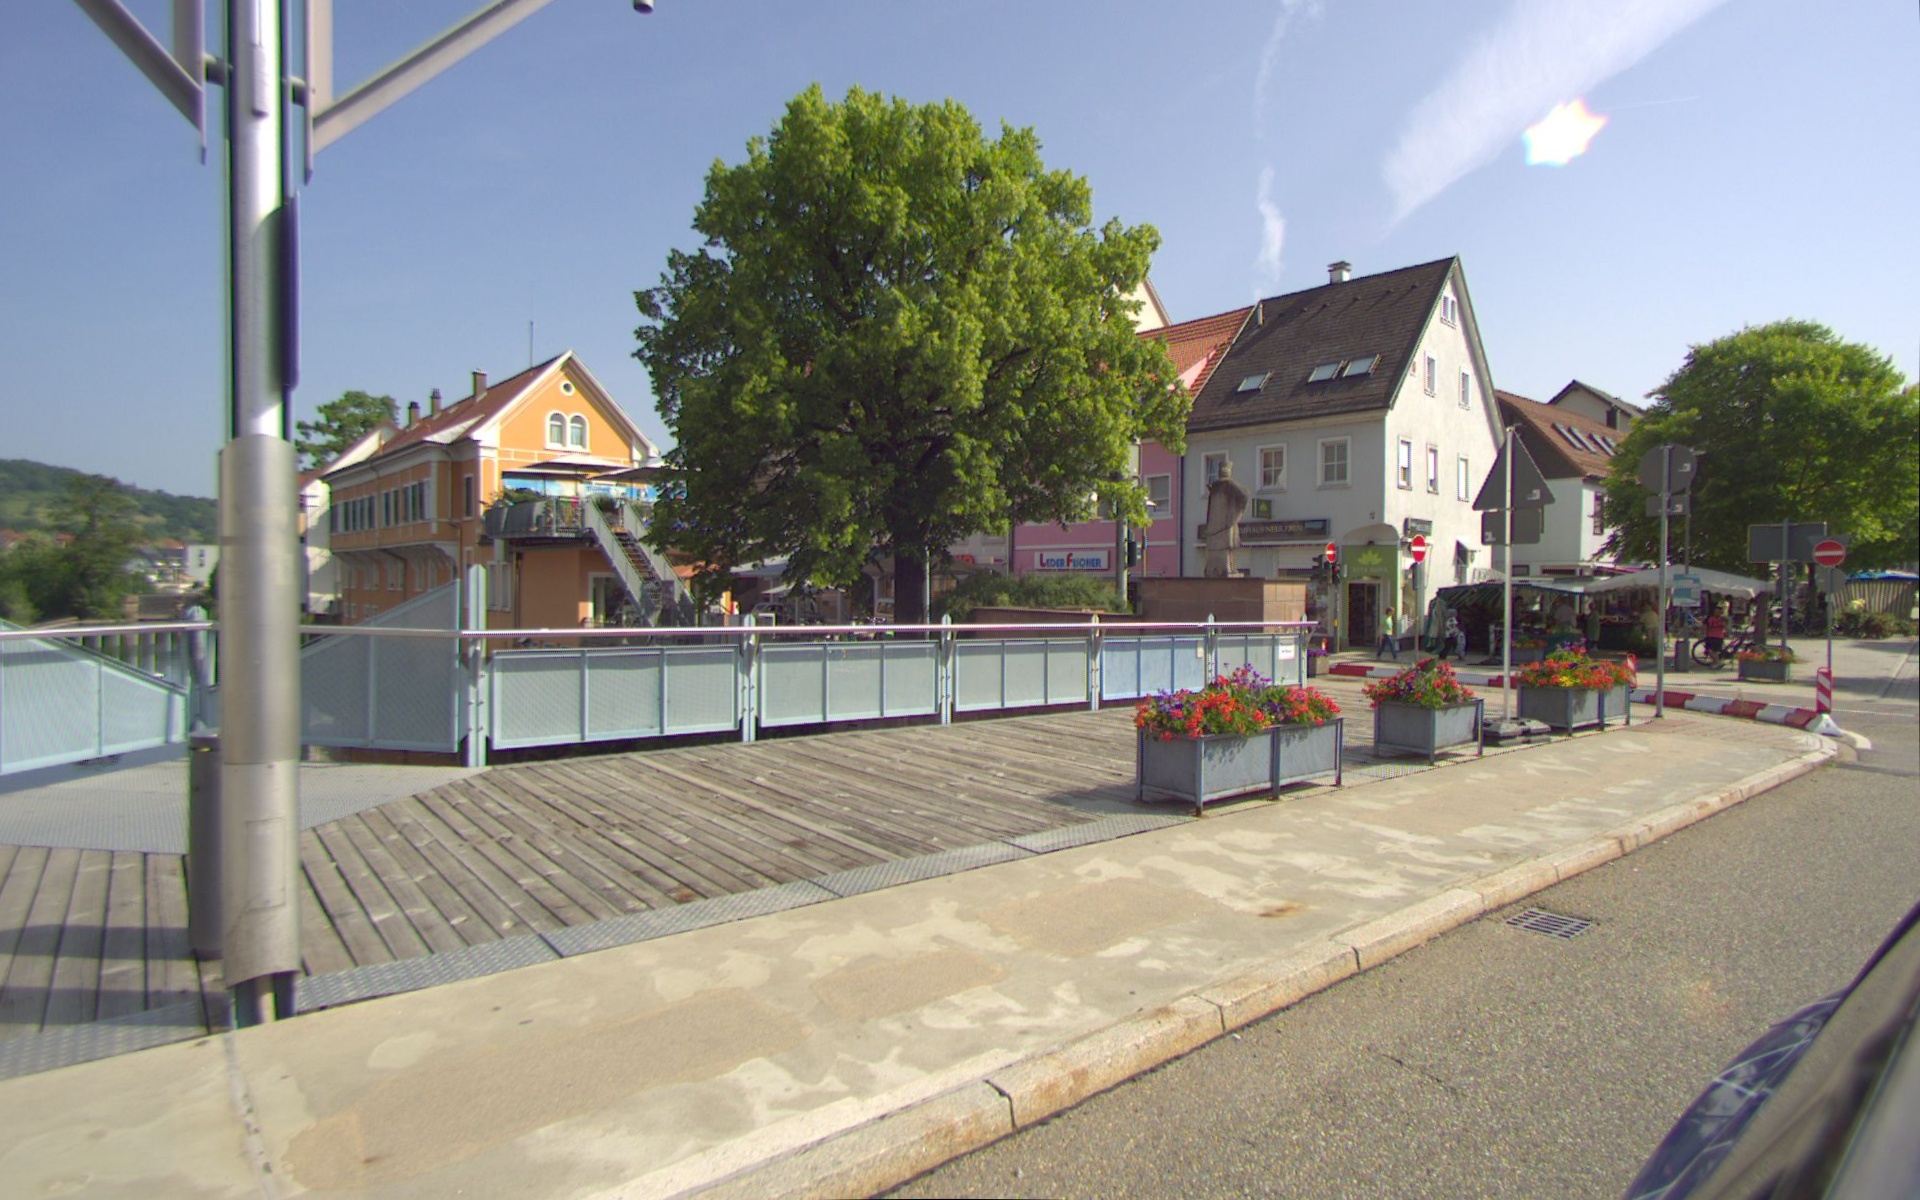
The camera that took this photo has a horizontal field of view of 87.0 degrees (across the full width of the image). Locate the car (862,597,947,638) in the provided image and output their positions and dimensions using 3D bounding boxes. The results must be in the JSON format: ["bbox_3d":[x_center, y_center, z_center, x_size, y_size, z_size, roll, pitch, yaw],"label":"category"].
[{"bbox_3d":[-2.608,0.775,46.730,1.684,1.761,4.136,-3,2,-43],"label":"car"}]

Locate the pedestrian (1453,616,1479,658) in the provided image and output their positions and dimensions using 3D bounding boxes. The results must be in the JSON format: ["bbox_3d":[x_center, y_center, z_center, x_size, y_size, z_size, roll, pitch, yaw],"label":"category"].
[{"bbox_3d":[14.690,1.071,29.384,0.615,1.175,0.512,1,0,24],"label":"pedestrian"}]

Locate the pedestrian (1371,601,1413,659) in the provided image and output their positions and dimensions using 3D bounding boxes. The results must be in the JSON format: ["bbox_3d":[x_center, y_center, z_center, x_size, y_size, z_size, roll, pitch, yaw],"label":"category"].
[{"bbox_3d":[12.803,0.872,29.980,0.774,1.652,0.858,-3,2,-39],"label":"pedestrian"}]

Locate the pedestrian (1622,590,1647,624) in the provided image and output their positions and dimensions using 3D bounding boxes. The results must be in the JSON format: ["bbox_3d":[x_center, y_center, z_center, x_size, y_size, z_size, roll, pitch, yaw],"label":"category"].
[{"bbox_3d":[28.131,0.285,42.202,0.686,1.347,0.626,-1,3,-37],"label":"pedestrian"}]

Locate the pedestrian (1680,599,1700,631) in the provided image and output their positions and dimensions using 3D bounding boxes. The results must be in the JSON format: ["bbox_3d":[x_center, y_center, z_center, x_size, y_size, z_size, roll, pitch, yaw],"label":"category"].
[{"bbox_3d":[28.647,0.575,39.725,0.569,1.215,0.642,3,3,39],"label":"pedestrian"}]

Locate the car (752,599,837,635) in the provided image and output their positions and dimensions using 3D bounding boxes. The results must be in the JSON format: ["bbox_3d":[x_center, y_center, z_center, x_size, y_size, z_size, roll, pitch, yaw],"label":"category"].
[{"bbox_3d":[-7.960,0.772,48.382,1.795,1.585,4.489,-3,2,-43],"label":"car"}]

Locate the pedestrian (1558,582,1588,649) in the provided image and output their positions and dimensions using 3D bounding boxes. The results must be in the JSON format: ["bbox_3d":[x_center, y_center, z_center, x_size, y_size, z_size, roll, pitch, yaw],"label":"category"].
[{"bbox_3d":[18.733,0.460,30.938,0.701,2.010,0.646,1,0,29],"label":"pedestrian"}]

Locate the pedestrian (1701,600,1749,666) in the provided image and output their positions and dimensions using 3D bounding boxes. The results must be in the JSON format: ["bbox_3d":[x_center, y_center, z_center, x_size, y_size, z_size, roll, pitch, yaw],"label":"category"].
[{"bbox_3d":[20.611,0.874,27.277,0.876,1.678,0.566,3,3,30],"label":"pedestrian"}]

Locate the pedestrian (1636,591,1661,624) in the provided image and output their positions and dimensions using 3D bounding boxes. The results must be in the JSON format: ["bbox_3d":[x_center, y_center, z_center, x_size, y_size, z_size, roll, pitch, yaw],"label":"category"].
[{"bbox_3d":[28.996,0.315,42.639,0.686,1.347,0.626,-1,3,-37],"label":"pedestrian"}]

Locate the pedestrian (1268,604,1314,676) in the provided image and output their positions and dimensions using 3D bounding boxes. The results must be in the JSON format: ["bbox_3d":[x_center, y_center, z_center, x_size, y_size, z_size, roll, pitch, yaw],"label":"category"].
[{"bbox_3d":[9.136,1.082,27.927,0.902,1.836,1.009,-1,5,36],"label":"pedestrian"}]

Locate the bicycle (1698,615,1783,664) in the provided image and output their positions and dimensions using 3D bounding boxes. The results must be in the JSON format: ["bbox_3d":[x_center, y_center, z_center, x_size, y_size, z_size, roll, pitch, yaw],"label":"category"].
[{"bbox_3d":[21.558,1.070,27.999,1.851,1.250,0.609,1,0,37],"label":"bicycle"}]

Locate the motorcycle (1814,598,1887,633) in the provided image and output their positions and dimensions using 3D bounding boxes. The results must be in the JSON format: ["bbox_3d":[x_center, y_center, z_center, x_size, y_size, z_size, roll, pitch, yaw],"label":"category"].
[{"bbox_3d":[34.708,0.603,39.472,0.630,1.210,2.010,1,3,-27],"label":"motorcycle"}]

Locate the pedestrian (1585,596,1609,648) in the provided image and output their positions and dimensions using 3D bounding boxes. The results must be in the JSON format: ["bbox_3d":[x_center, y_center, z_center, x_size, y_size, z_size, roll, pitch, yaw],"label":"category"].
[{"bbox_3d":[20.760,0.707,32.988,0.520,1.647,0.696,1,0,45],"label":"pedestrian"}]

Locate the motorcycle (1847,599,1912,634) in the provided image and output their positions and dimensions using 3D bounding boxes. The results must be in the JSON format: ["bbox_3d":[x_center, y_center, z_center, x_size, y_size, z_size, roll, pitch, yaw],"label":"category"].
[{"bbox_3d":[35.853,0.610,39.497,0.631,1.210,2.006,2,3,1],"label":"motorcycle"}]

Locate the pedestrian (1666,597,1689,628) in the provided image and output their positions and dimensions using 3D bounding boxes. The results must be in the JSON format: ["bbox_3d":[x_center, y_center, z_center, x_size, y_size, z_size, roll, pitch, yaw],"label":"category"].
[{"bbox_3d":[29.307,0.513,41.339,0.639,1.215,0.572,-1,3,-40],"label":"pedestrian"}]

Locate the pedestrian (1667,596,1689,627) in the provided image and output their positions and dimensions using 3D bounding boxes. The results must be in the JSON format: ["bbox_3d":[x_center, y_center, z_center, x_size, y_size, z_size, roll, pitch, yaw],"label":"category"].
[{"bbox_3d":[30.162,0.478,42.512,0.639,1.215,0.572,-1,3,-40],"label":"pedestrian"}]

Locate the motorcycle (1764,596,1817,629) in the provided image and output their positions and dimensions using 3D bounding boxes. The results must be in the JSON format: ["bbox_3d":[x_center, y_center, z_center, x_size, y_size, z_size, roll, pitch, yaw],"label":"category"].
[{"bbox_3d":[33.827,0.488,41.240,0.632,1.210,1.531,0,4,-40],"label":"motorcycle"}]

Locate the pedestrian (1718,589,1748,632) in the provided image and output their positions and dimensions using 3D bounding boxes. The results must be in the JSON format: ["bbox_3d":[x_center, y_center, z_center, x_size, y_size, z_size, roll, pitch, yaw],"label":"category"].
[{"bbox_3d":[29.512,0.387,38.649,0.561,1.572,0.700,-1,3,-34],"label":"pedestrian"}]

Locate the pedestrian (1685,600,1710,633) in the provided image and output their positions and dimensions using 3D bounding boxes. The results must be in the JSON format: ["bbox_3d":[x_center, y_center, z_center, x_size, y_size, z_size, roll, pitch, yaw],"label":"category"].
[{"bbox_3d":[28.186,0.630,38.682,0.695,1.215,0.565,3,3,36],"label":"pedestrian"}]

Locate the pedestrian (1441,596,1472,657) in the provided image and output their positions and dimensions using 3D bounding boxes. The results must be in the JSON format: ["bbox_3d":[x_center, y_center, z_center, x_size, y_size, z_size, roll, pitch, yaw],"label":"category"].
[{"bbox_3d":[14.686,0.774,29.910,0.781,1.745,0.700,1,0,28],"label":"pedestrian"}]

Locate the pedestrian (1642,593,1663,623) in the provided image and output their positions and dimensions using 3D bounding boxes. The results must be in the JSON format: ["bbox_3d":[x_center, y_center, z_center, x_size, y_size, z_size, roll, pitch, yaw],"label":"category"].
[{"bbox_3d":[29.628,0.325,43.293,0.639,1.215,0.572,-1,3,-40],"label":"pedestrian"}]

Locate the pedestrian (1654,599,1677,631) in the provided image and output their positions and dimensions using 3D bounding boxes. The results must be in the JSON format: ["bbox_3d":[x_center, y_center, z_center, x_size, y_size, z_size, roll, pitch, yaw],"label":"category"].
[{"bbox_3d":[28.517,0.593,40.898,0.639,1.215,0.572,-1,3,-40],"label":"pedestrian"}]

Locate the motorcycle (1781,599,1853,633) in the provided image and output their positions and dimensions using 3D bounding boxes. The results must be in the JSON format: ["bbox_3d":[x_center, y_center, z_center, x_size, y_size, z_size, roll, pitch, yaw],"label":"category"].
[{"bbox_3d":[33.670,0.612,39.800,0.630,1.210,2.010,0,4,-27],"label":"motorcycle"}]

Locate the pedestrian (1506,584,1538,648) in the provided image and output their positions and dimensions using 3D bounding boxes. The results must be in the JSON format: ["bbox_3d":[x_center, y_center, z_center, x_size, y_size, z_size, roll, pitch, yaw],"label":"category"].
[{"bbox_3d":[17.832,0.507,32.108,0.692,1.995,0.509,1,0,-14],"label":"pedestrian"}]

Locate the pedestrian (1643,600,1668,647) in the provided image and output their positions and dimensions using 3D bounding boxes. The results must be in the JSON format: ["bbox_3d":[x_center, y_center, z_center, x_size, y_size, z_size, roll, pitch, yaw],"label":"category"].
[{"bbox_3d":[22.805,0.759,33.198,0.619,1.537,0.624,1,0,39],"label":"pedestrian"}]

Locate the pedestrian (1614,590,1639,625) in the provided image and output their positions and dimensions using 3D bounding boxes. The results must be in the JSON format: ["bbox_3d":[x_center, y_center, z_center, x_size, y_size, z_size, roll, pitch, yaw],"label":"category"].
[{"bbox_3d":[27.414,0.302,41.644,0.686,1.347,0.626,-1,3,-37],"label":"pedestrian"}]
